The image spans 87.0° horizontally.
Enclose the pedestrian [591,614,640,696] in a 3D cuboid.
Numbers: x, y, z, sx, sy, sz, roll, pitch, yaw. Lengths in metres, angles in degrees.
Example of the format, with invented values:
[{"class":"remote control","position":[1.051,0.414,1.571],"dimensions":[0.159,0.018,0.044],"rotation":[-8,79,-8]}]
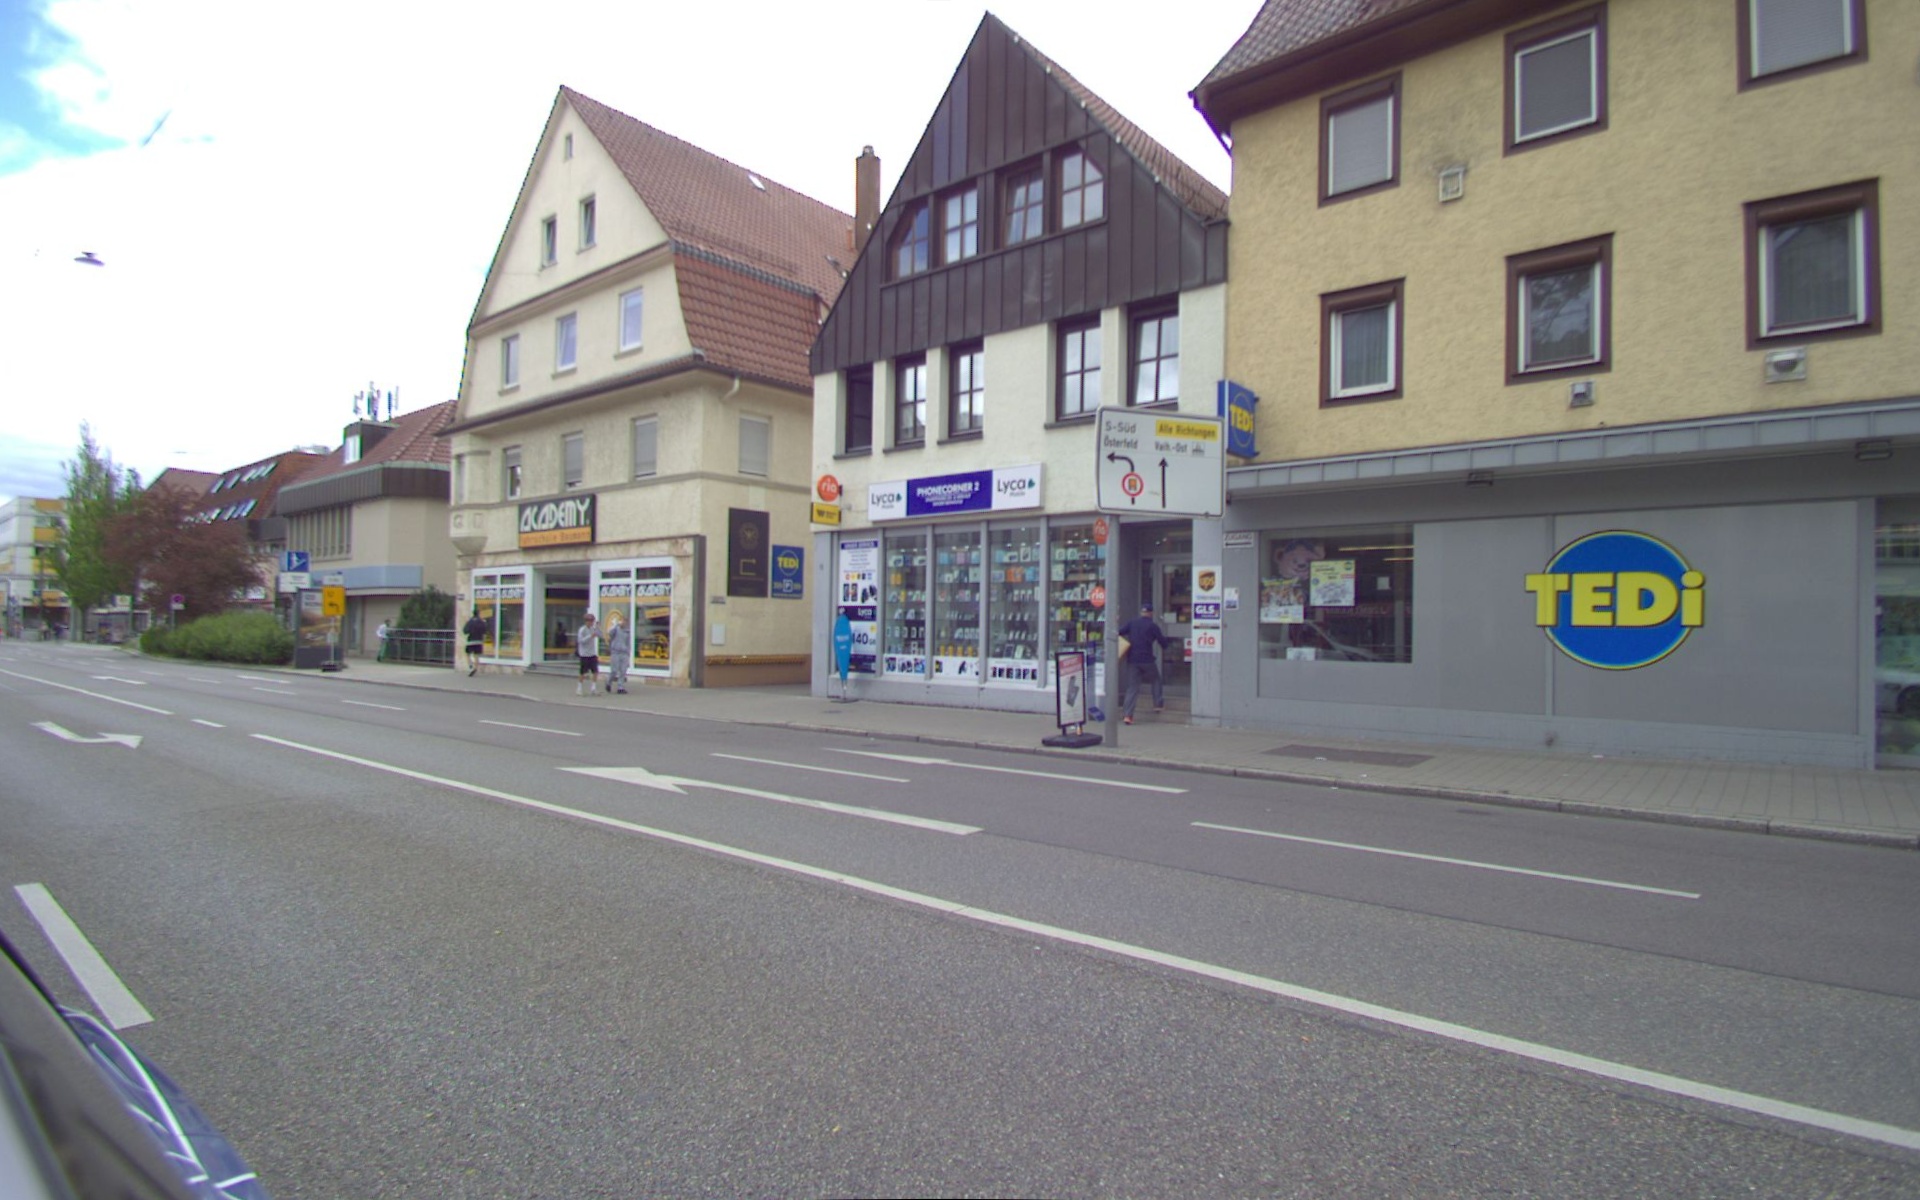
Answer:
[{"class":"pedestrian","position":[-7.360,1.158,21.621],"dimensions":[0.709,1.683,0.680],"rotation":[-2,0,41]}]

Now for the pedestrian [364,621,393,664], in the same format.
[{"class":"pedestrian","position":[-24.565,1.789,42.765],"dimensions":[0.837,1.772,0.825],"rotation":[-2,-3,41]}]

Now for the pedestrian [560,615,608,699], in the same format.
[{"class":"pedestrian","position":[-7.817,1.171,21.037],"dimensions":[0.742,1.703,0.680],"rotation":[-2,-1,41]}]

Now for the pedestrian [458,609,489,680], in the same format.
[{"class":"pedestrian","position":[-13.350,1.215,27.763],"dimensions":[0.592,1.903,0.544],"rotation":[-2,-1,37]}]

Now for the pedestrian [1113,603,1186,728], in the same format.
[{"class":"pedestrian","position":[2.730,0.920,14.601],"dimensions":[0.775,1.726,0.679],"rotation":[-2,-1,41]}]

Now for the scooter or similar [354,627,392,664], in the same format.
[{"class":"scooter or similar","position":[-23.037,1.785,39.744],"dimensions":[0.536,1.404,1.182],"rotation":[-1,-2,26]}]
